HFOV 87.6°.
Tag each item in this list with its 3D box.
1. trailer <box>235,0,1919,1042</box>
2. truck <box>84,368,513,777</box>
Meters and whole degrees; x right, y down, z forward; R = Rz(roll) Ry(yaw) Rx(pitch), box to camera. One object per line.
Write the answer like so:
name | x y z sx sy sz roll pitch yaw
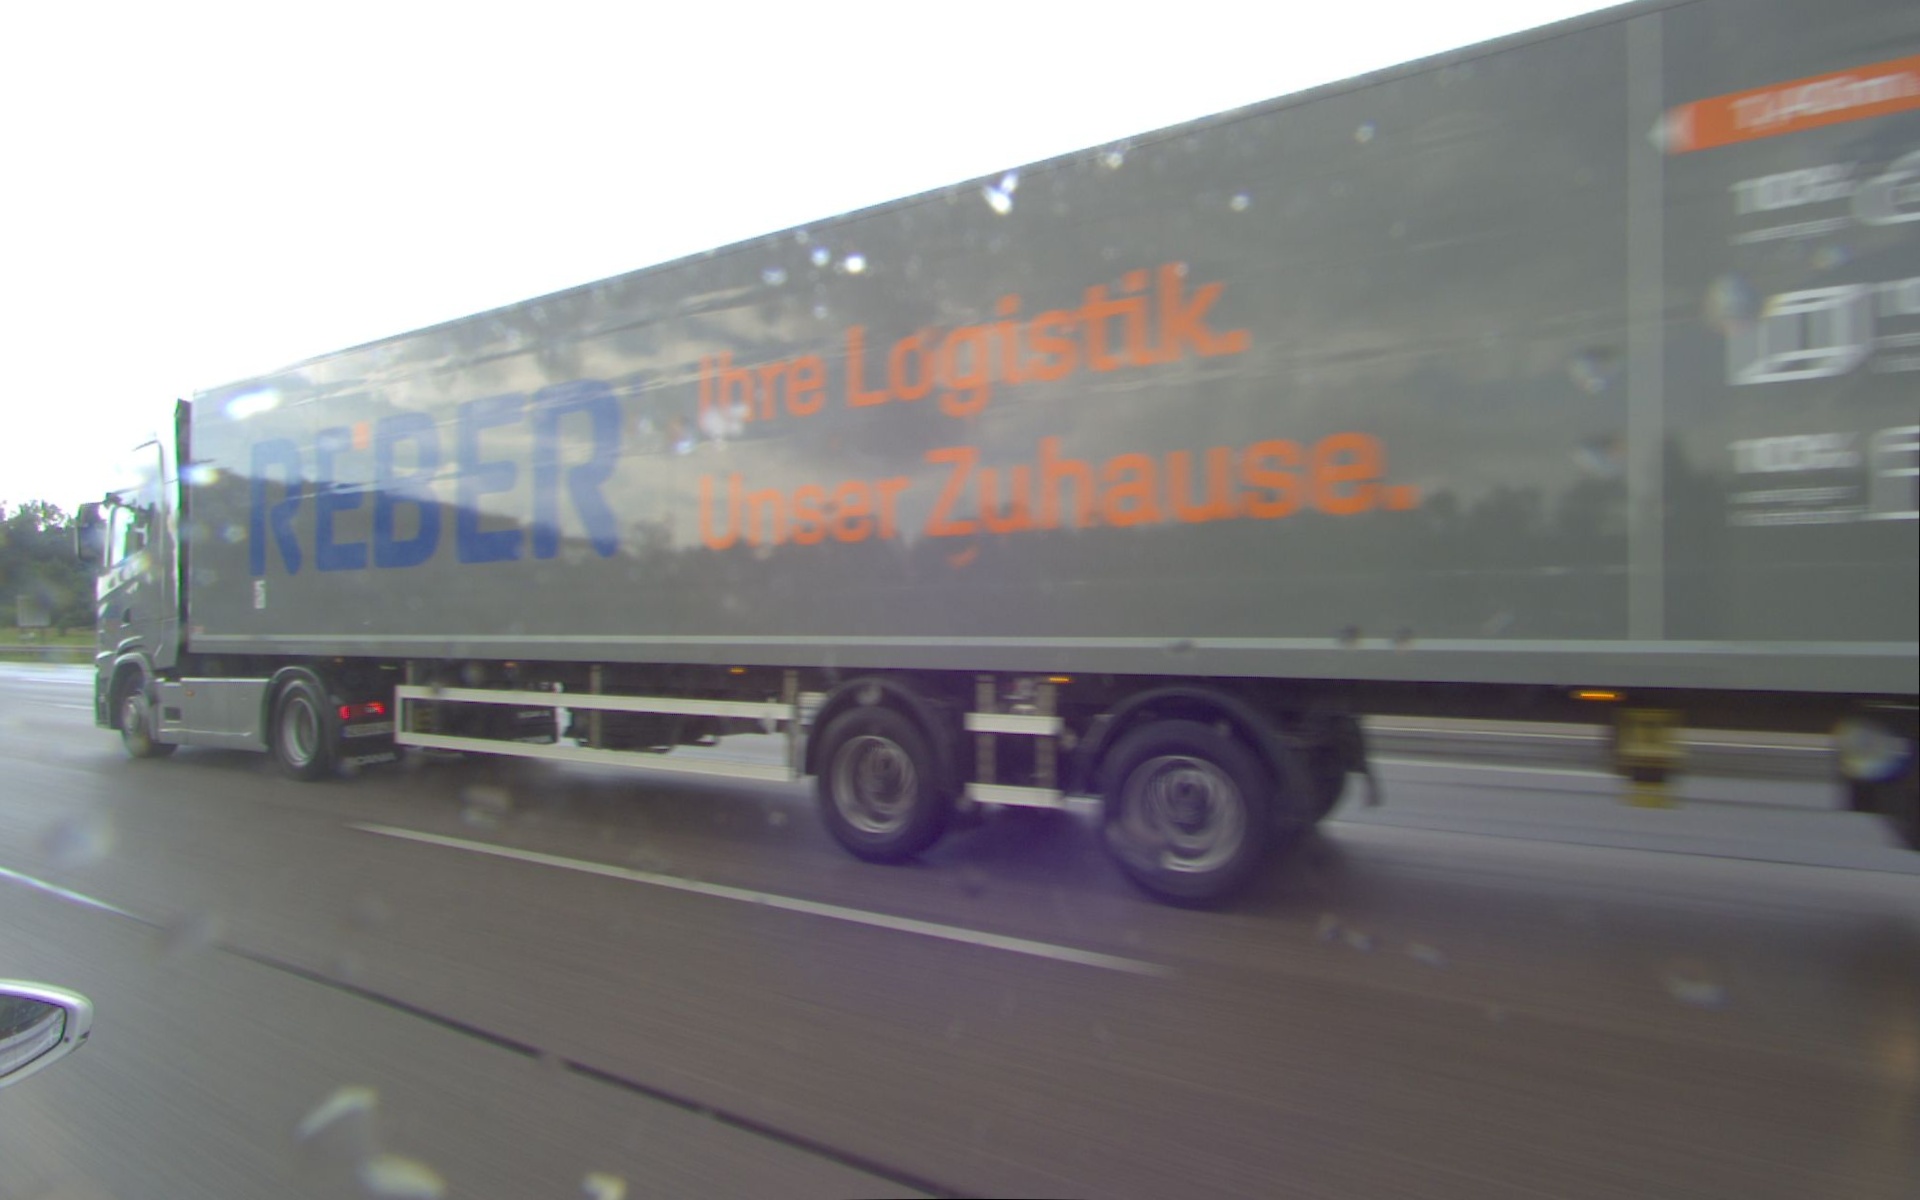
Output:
trailer | -1.181 -0.351 7.799 13.215 4.054 2.320 -1 -1 31
truck | -8.000 -0.219 11.975 5.314 3.918 2.290 0 -1 32
